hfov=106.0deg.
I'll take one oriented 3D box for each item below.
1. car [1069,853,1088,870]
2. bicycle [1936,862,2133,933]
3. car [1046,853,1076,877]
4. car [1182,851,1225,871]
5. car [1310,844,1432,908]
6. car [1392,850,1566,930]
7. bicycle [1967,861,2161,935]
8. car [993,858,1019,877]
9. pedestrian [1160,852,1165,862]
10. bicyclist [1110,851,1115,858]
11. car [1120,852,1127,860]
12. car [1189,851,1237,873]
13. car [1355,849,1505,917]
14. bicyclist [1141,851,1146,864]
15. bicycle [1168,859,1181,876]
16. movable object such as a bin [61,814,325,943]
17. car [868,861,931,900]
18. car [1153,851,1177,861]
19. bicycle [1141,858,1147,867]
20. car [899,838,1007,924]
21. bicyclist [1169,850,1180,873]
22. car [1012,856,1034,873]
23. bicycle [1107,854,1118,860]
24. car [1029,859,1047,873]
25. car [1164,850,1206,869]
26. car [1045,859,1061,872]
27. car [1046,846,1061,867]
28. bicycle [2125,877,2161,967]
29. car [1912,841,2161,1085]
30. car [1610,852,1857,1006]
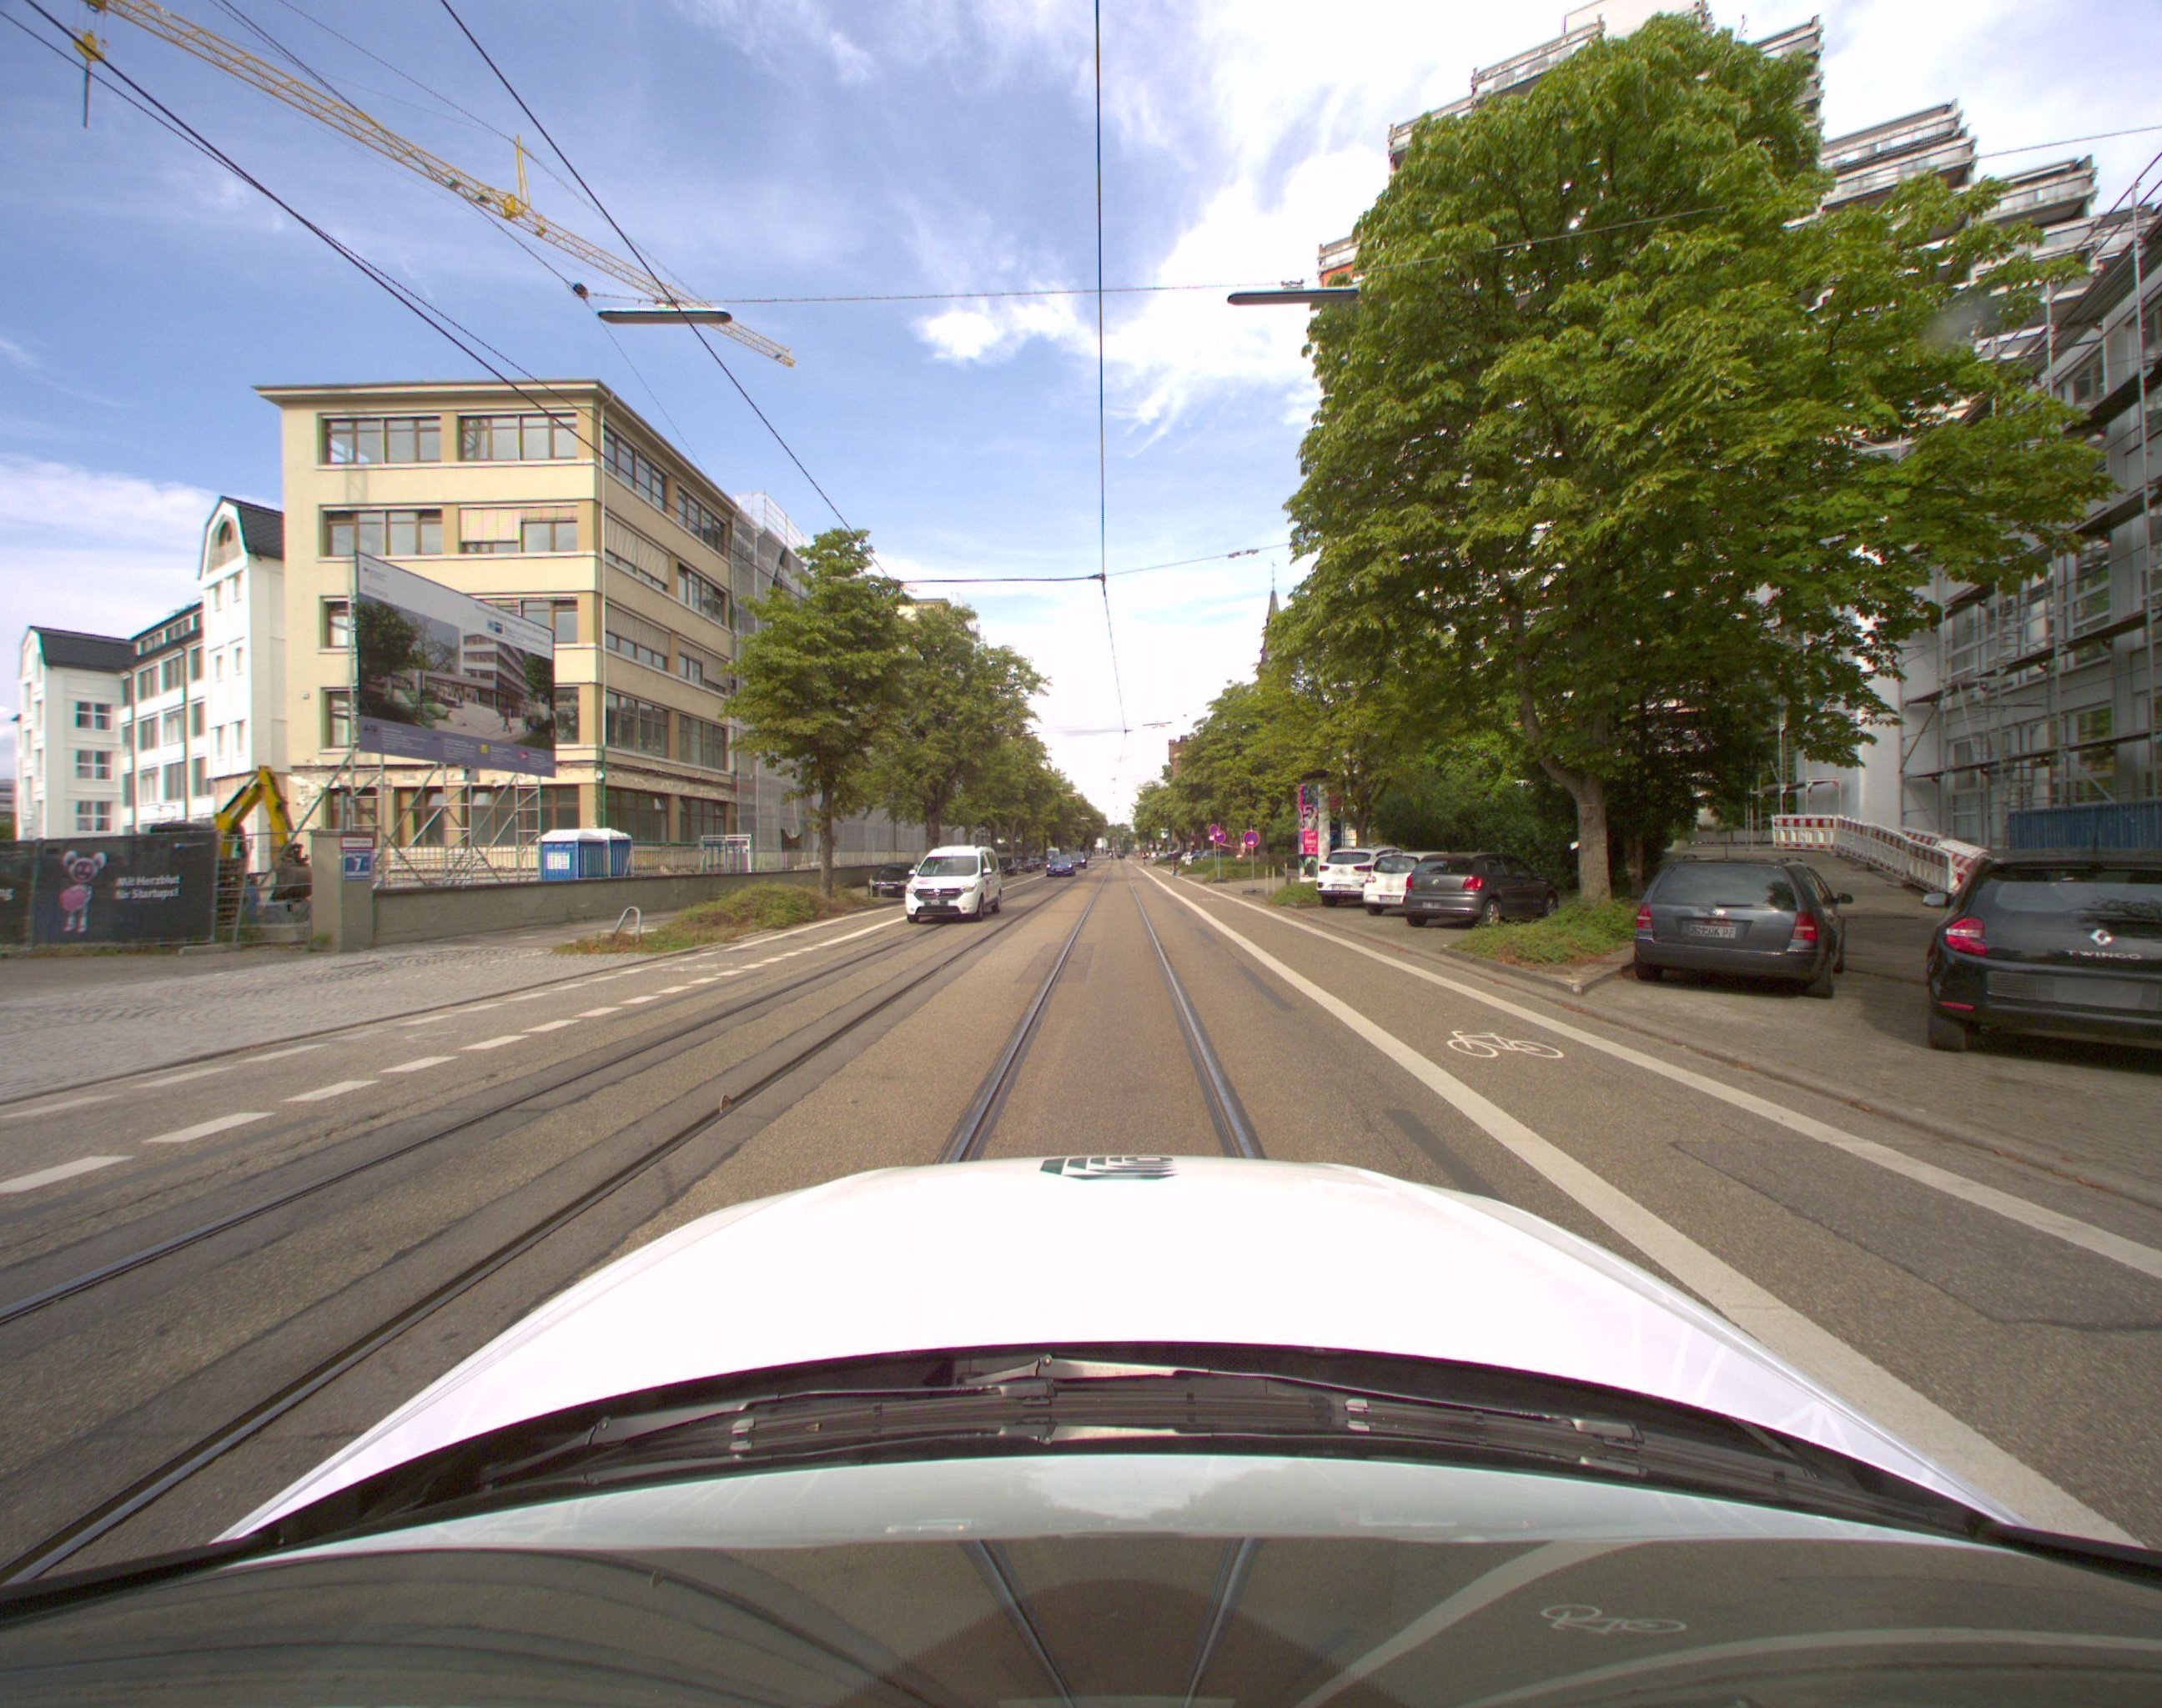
[{"bbox_3d":[-0.209,0.737,80.858,1.726,1.628,4.380,-2,0,2],"label":"car"},{"bbox_3d":[15.120,0.659,13.003,1.952,1.043,0.598,0,0,39],"label":"bicycle"},{"bbox_3d":[-1.339,0.702,55.795,1.725,1.496,4.381,-1,0,2],"label":"car"},{"bbox_3d":[10.318,0.592,68.315,3.667,1.602,1.661,0,-1,-43],"label":"car"},{"bbox_3d":[8.055,0.564,22.495,3.667,1.602,1.661,0,-1,-43],"label":"car"},{"bbox_3d":[8.029,0.643,16.347,3.663,1.419,1.663,0,-1,-37],"label":"car"},{"bbox_3d":[14.754,0.633,12.168,1.952,1.043,0.598,0,0,30],"label":"bicycle"},{"bbox_3d":[-5.778,0.991,62.730,1.585,1.402,3.962,0,0,0],"label":"car"},{"bbox_3d":[14.436,0.592,144.444,0.742,1.790,0.734,-1,-1,17],"label":"pedestrian"},{"bbox_3d":[6.564,0.083,168.722,0.841,1.504,0.771,-1,0,9],"label":"bicyclist"},{"bbox_3d":[10.917,0.488,210.462,1.788,1.824,4.680,0,0,2],"label":"car"},{"bbox_3d":[9.999,0.592,61.520,3.667,1.602,1.661,0,-1,-43],"label":"car"},{"bbox_3d":[8.299,0.626,19.270,3.663,1.474,1.663,0,-1,-37],"label":"car"},{"bbox_3d":[7.492,0.417,97.615,0.656,1.496,0.930,-1,0,3],"label":"bicyclist"},{"bbox_3d":[6.171,0.878,53.842,0.591,1.043,1.978,-1,0,0],"label":"bicycle"},{"bbox_3d":[-18.348,0.497,16.964,3.030,2.443,2.506,-1,-1,12],"label":"movable object such as a bin"},{"bbox_3d":[-7.168,1.019,32.569,1.585,1.402,3.962,0,0,0],"label":"car"},{"bbox_3d":[14.855,0.379,144.630,3.978,1.693,1.998,-1,0,-3],"label":"car"},{"bbox_3d":[7.493,1.045,97.610,0.661,1.043,1.842,-1,0,3],"label":"bicycle"},{"bbox_3d":[-3.024,0.593,20.149,1.725,1.884,4.382,-1,0,3],"label":"car"},{"bbox_3d":[6.172,0.482,53.845,0.591,1.459,0.875,-1,0,0],"label":"bicyclist"},{"bbox_3d":[-5.175,0.921,73.022,1.585,1.402,3.962,0,0,0],"label":"car"},{"bbox_3d":[6.547,0.660,168.717,2.260,1.189,0.771,0,0,10],"label":"bicycle"},{"bbox_3d":[-4.376,1.188,83.228,1.585,1.402,3.962,0,0,0],"label":"car"},{"bbox_3d":[9.007,0.504,70.497,3.667,1.602,1.661,0,-1,-43],"label":"car"},{"bbox_3d":[-3.176,1.262,93.400,1.585,1.402,3.962,0,0,0],"label":"car"},{"bbox_3d":[-3.607,0.369,106.781,1.715,2.704,5.470,0,0,0],"label":"car"},{"bbox_3d":[13.620,0.791,9.430,1.817,1.043,0.456,-2,-1,31],"label":"bicycle"},{"bbox_3d":[7.892,0.671,6.496,3.436,1.537,1.577,-1,0,-41],"label":"car"},{"bbox_3d":[7.887,0.707,9.683,4.194,1.415,1.794,0,-1,-45],"label":"car"}]
